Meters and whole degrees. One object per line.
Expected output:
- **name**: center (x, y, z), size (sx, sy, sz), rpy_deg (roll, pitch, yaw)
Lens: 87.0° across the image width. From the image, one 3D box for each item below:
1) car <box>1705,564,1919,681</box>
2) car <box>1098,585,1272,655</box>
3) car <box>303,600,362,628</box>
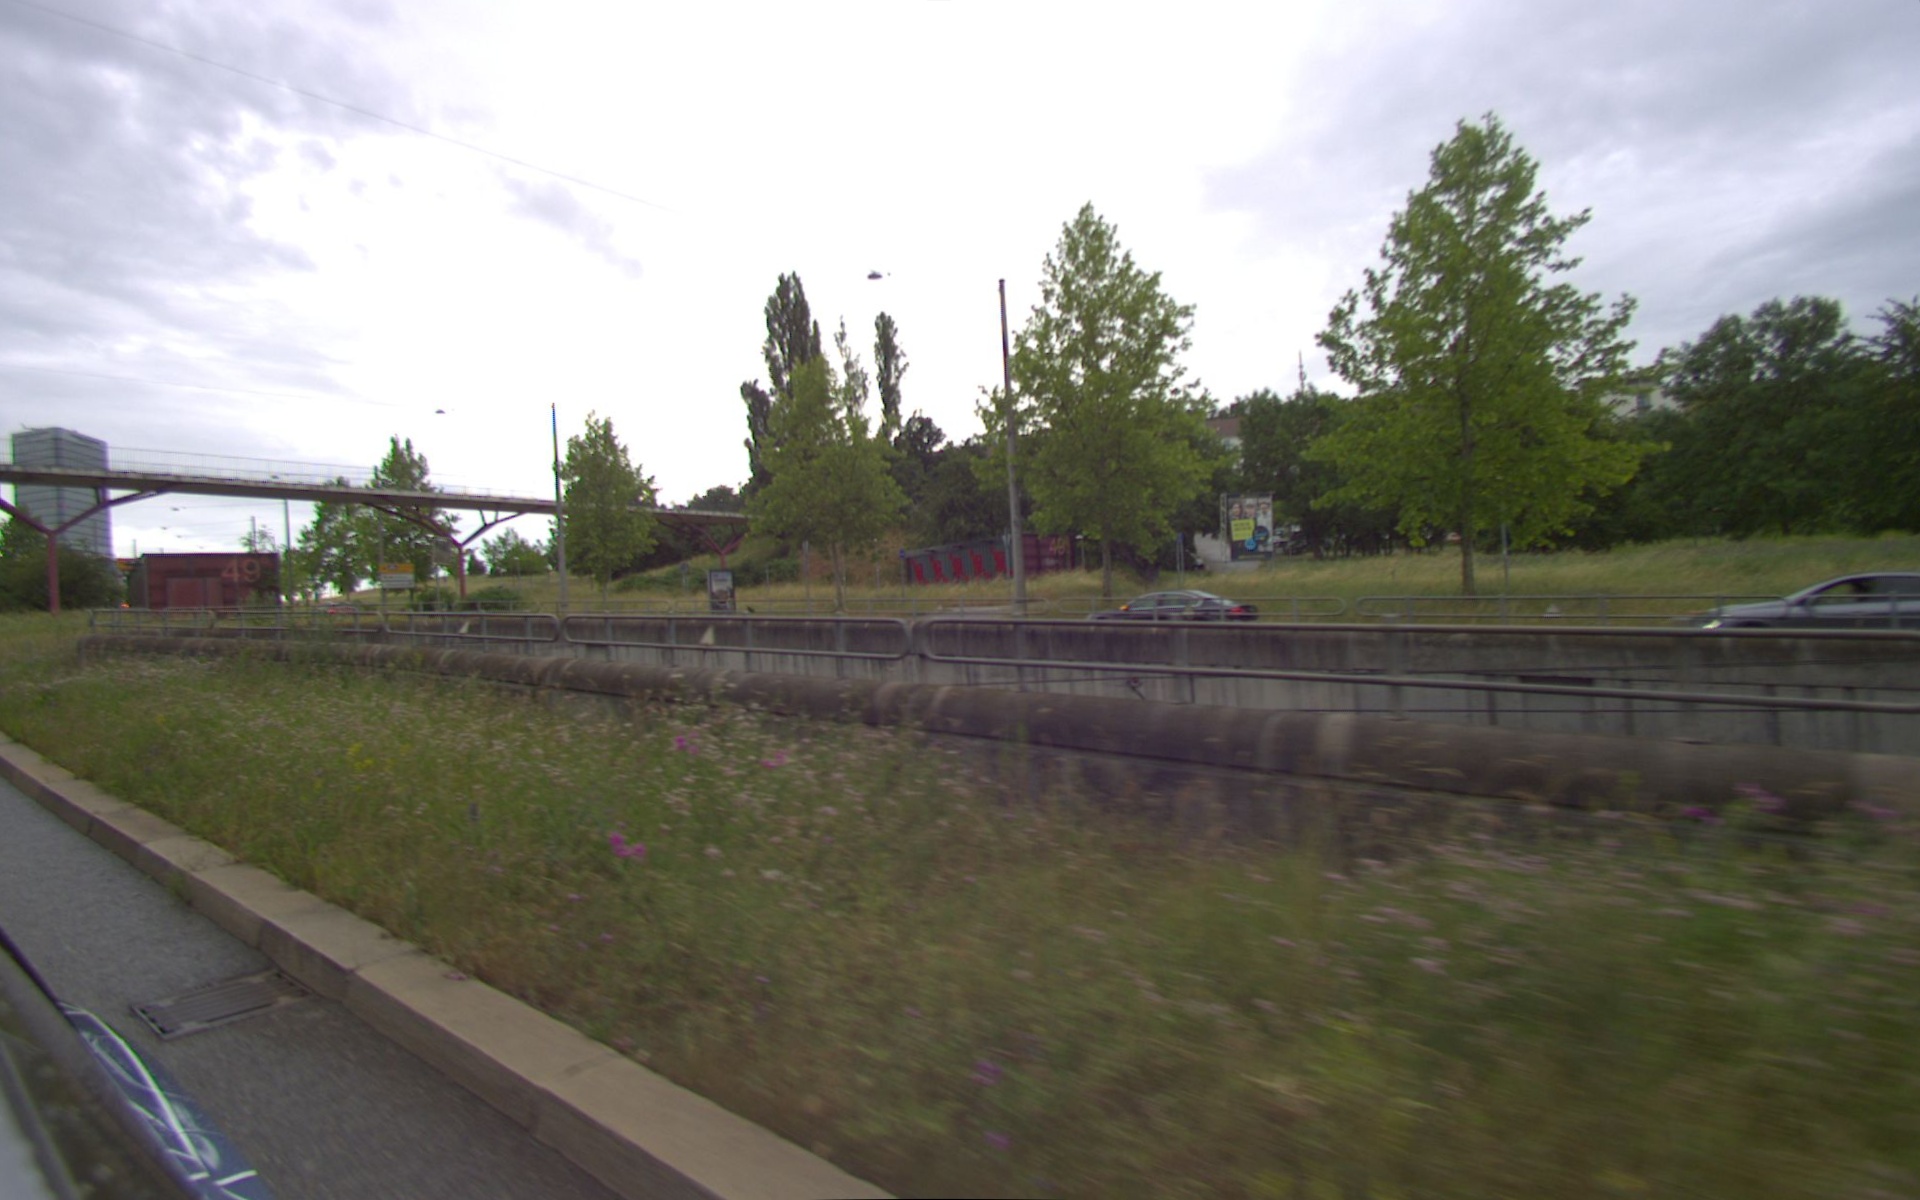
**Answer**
- **car**: center (14.467, 0.312, 15.855), size (4.355, 1.656, 1.872), rpy_deg (-1, 3, 41)
- **car**: center (5.762, 0.500, 26.130), size (3.970, 1.653, 1.871), rpy_deg (-1, 0, 41)
- **car**: center (-36.715, 0.827, 59.192), size (4.433, 1.539, 1.639), rpy_deg (-2, 0, 41)
